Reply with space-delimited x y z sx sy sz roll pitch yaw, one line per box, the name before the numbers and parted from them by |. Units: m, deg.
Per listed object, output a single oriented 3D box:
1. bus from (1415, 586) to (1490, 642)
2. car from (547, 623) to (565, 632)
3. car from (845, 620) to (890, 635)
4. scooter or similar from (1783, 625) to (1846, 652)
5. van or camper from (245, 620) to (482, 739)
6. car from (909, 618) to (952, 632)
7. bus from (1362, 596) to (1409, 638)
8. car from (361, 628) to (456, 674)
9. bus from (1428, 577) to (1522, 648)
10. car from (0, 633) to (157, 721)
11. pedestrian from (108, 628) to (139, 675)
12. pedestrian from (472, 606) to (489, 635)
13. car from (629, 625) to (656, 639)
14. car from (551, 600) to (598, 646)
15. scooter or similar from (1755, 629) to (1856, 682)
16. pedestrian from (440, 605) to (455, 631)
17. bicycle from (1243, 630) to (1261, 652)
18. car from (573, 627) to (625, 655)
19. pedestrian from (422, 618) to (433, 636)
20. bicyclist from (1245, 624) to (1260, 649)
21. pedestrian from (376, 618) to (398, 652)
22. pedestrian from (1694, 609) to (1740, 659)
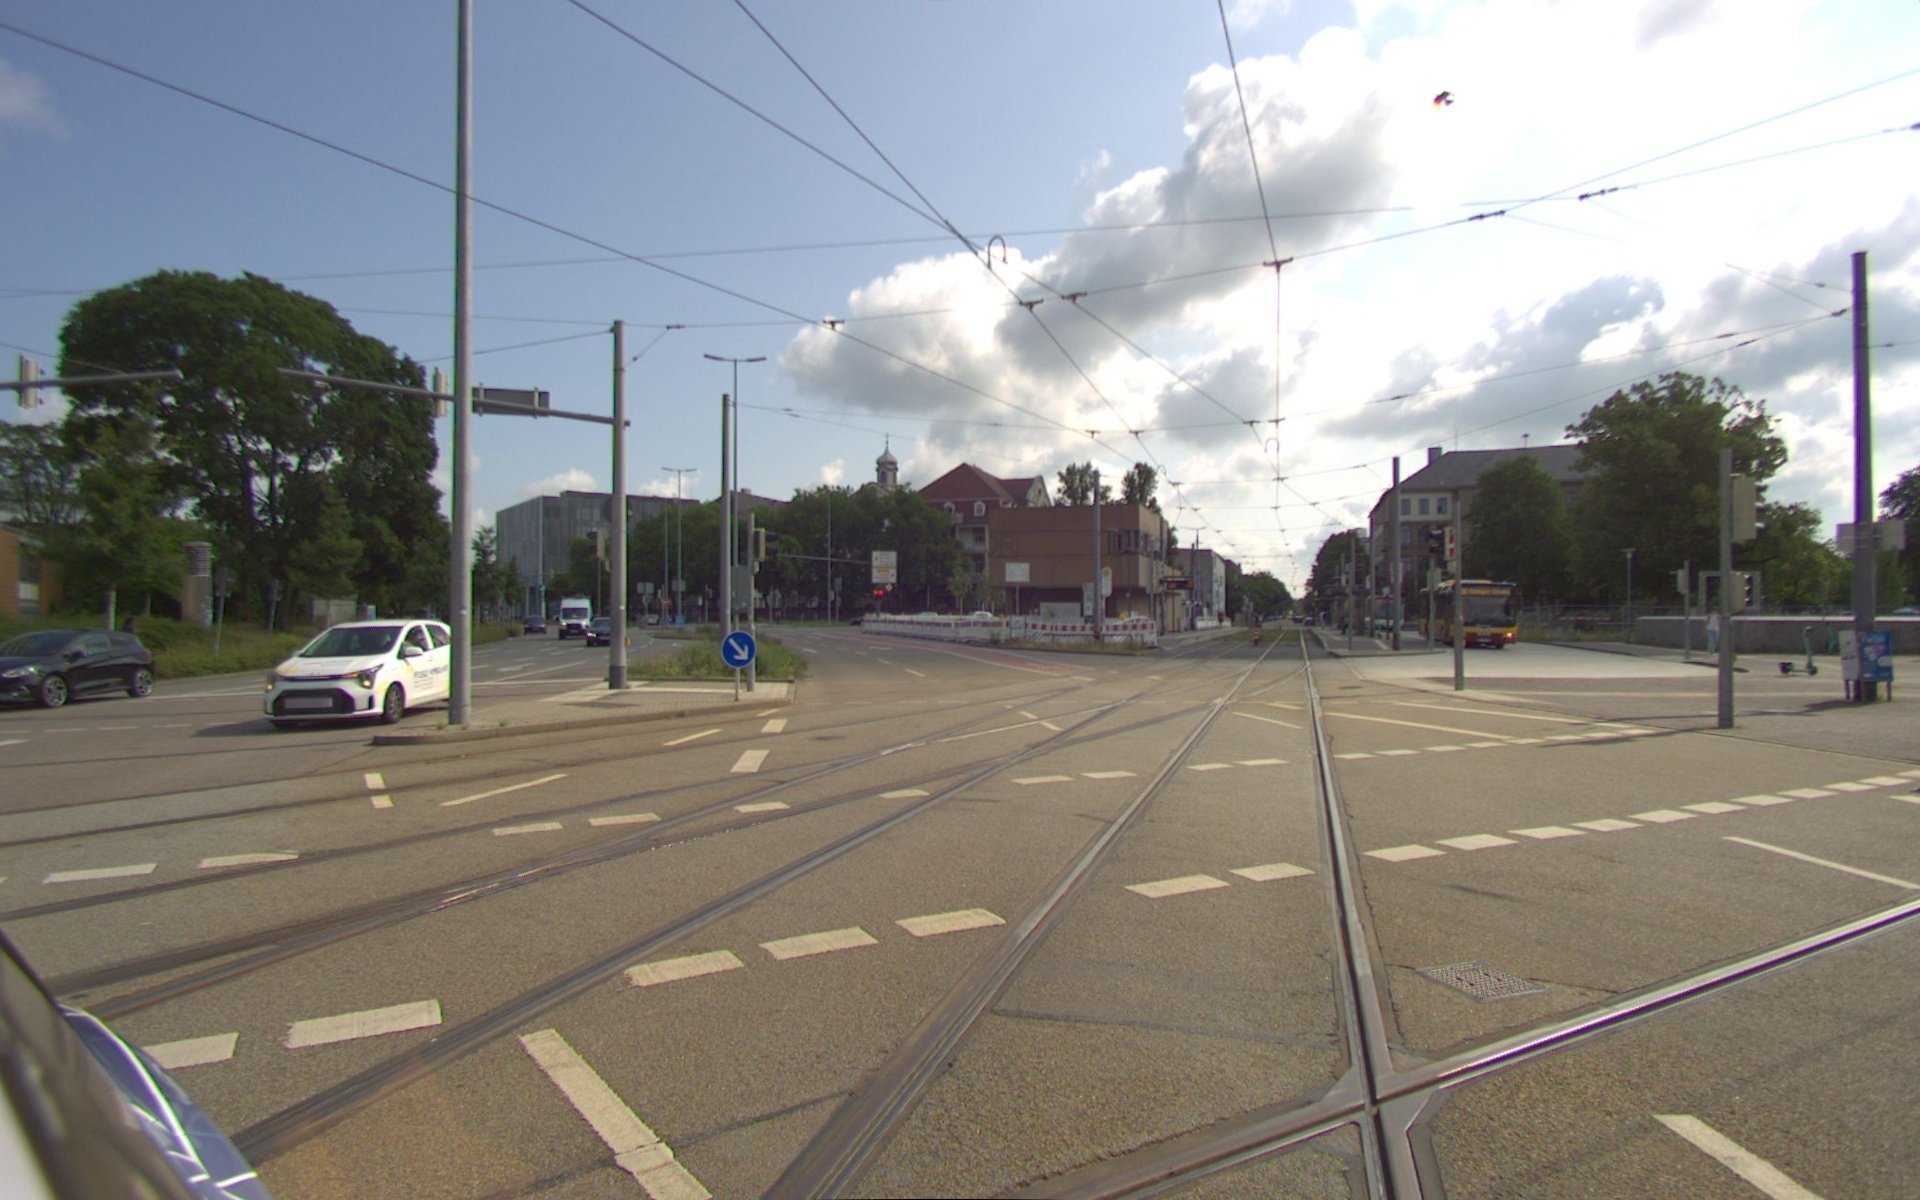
bus | 24.403 0.709 50.345 2.680 2.607 5.046 -1 -1 19
car | -68.960 4.659 172.727 1.926 1.500 5.114 1 -1 -32
car | -8.958 2.682 98.101 4.063 1.401 1.764 1 -2 -37
scooter or similar | 30.525 1.364 36.174 1.651 0.957 0.470 -1 -1 21
van or camper | -8.871 1.088 15.458 1.603 1.487 4.006 -2 -1 -6
car | -3.011 2.528 102.591 4.063 1.401 1.764 1 -2 -37
bus | 38.018 1.566 90.770 2.942 3.534 12.176 -1 -1 19
car | -16.931 1.535 31.194 1.584 1.223 3.016 1 0 -8
bus | 22.511 0.576 44.590 2.679 2.855 7.055 -1 -1 19
car | -17.756 1.428 19.635 1.686 1.465 4.008 -1 -1 -10
pedestrian | -27.932 1.713 33.794 0.473 1.532 0.581 4 -1 -4
pedestrian | -33.546 1.444 70.831 0.970 2.029 1.134 1 -1 -25
car | -39.199 3.963 124.719 1.966 1.580 4.796 4 -2 -32
car | -25.860 1.549 68.118 2.444 2.901 6.167 0 -1 -16
scooter or similar | 20.388 1.318 24.421 1.468 1.198 1.343 1 -1 -22
pedestrian | -40.796 1.408 80.608 0.970 2.029 1.134 1 -1 -25
bicycle | 14.193 2.009 49.097 0.805 1.000 2.058 0 -3 17
car | -18.516 2.072 52.101 1.967 1.291 4.556 1 -1 -13
pedestrian | -60.501 3.013 114.982 0.970 2.029 1.134 0 -1 -24
bicyclist | 14.201 1.767 49.129 0.691 1.161 0.734 0 -4 17
pedestrian | -32.609 1.971 57.562 0.749 1.885 0.646 5 -2 -9
pedestrian | 27.022 1.201 36.149 0.922 1.702 1.091 -3 0 17
